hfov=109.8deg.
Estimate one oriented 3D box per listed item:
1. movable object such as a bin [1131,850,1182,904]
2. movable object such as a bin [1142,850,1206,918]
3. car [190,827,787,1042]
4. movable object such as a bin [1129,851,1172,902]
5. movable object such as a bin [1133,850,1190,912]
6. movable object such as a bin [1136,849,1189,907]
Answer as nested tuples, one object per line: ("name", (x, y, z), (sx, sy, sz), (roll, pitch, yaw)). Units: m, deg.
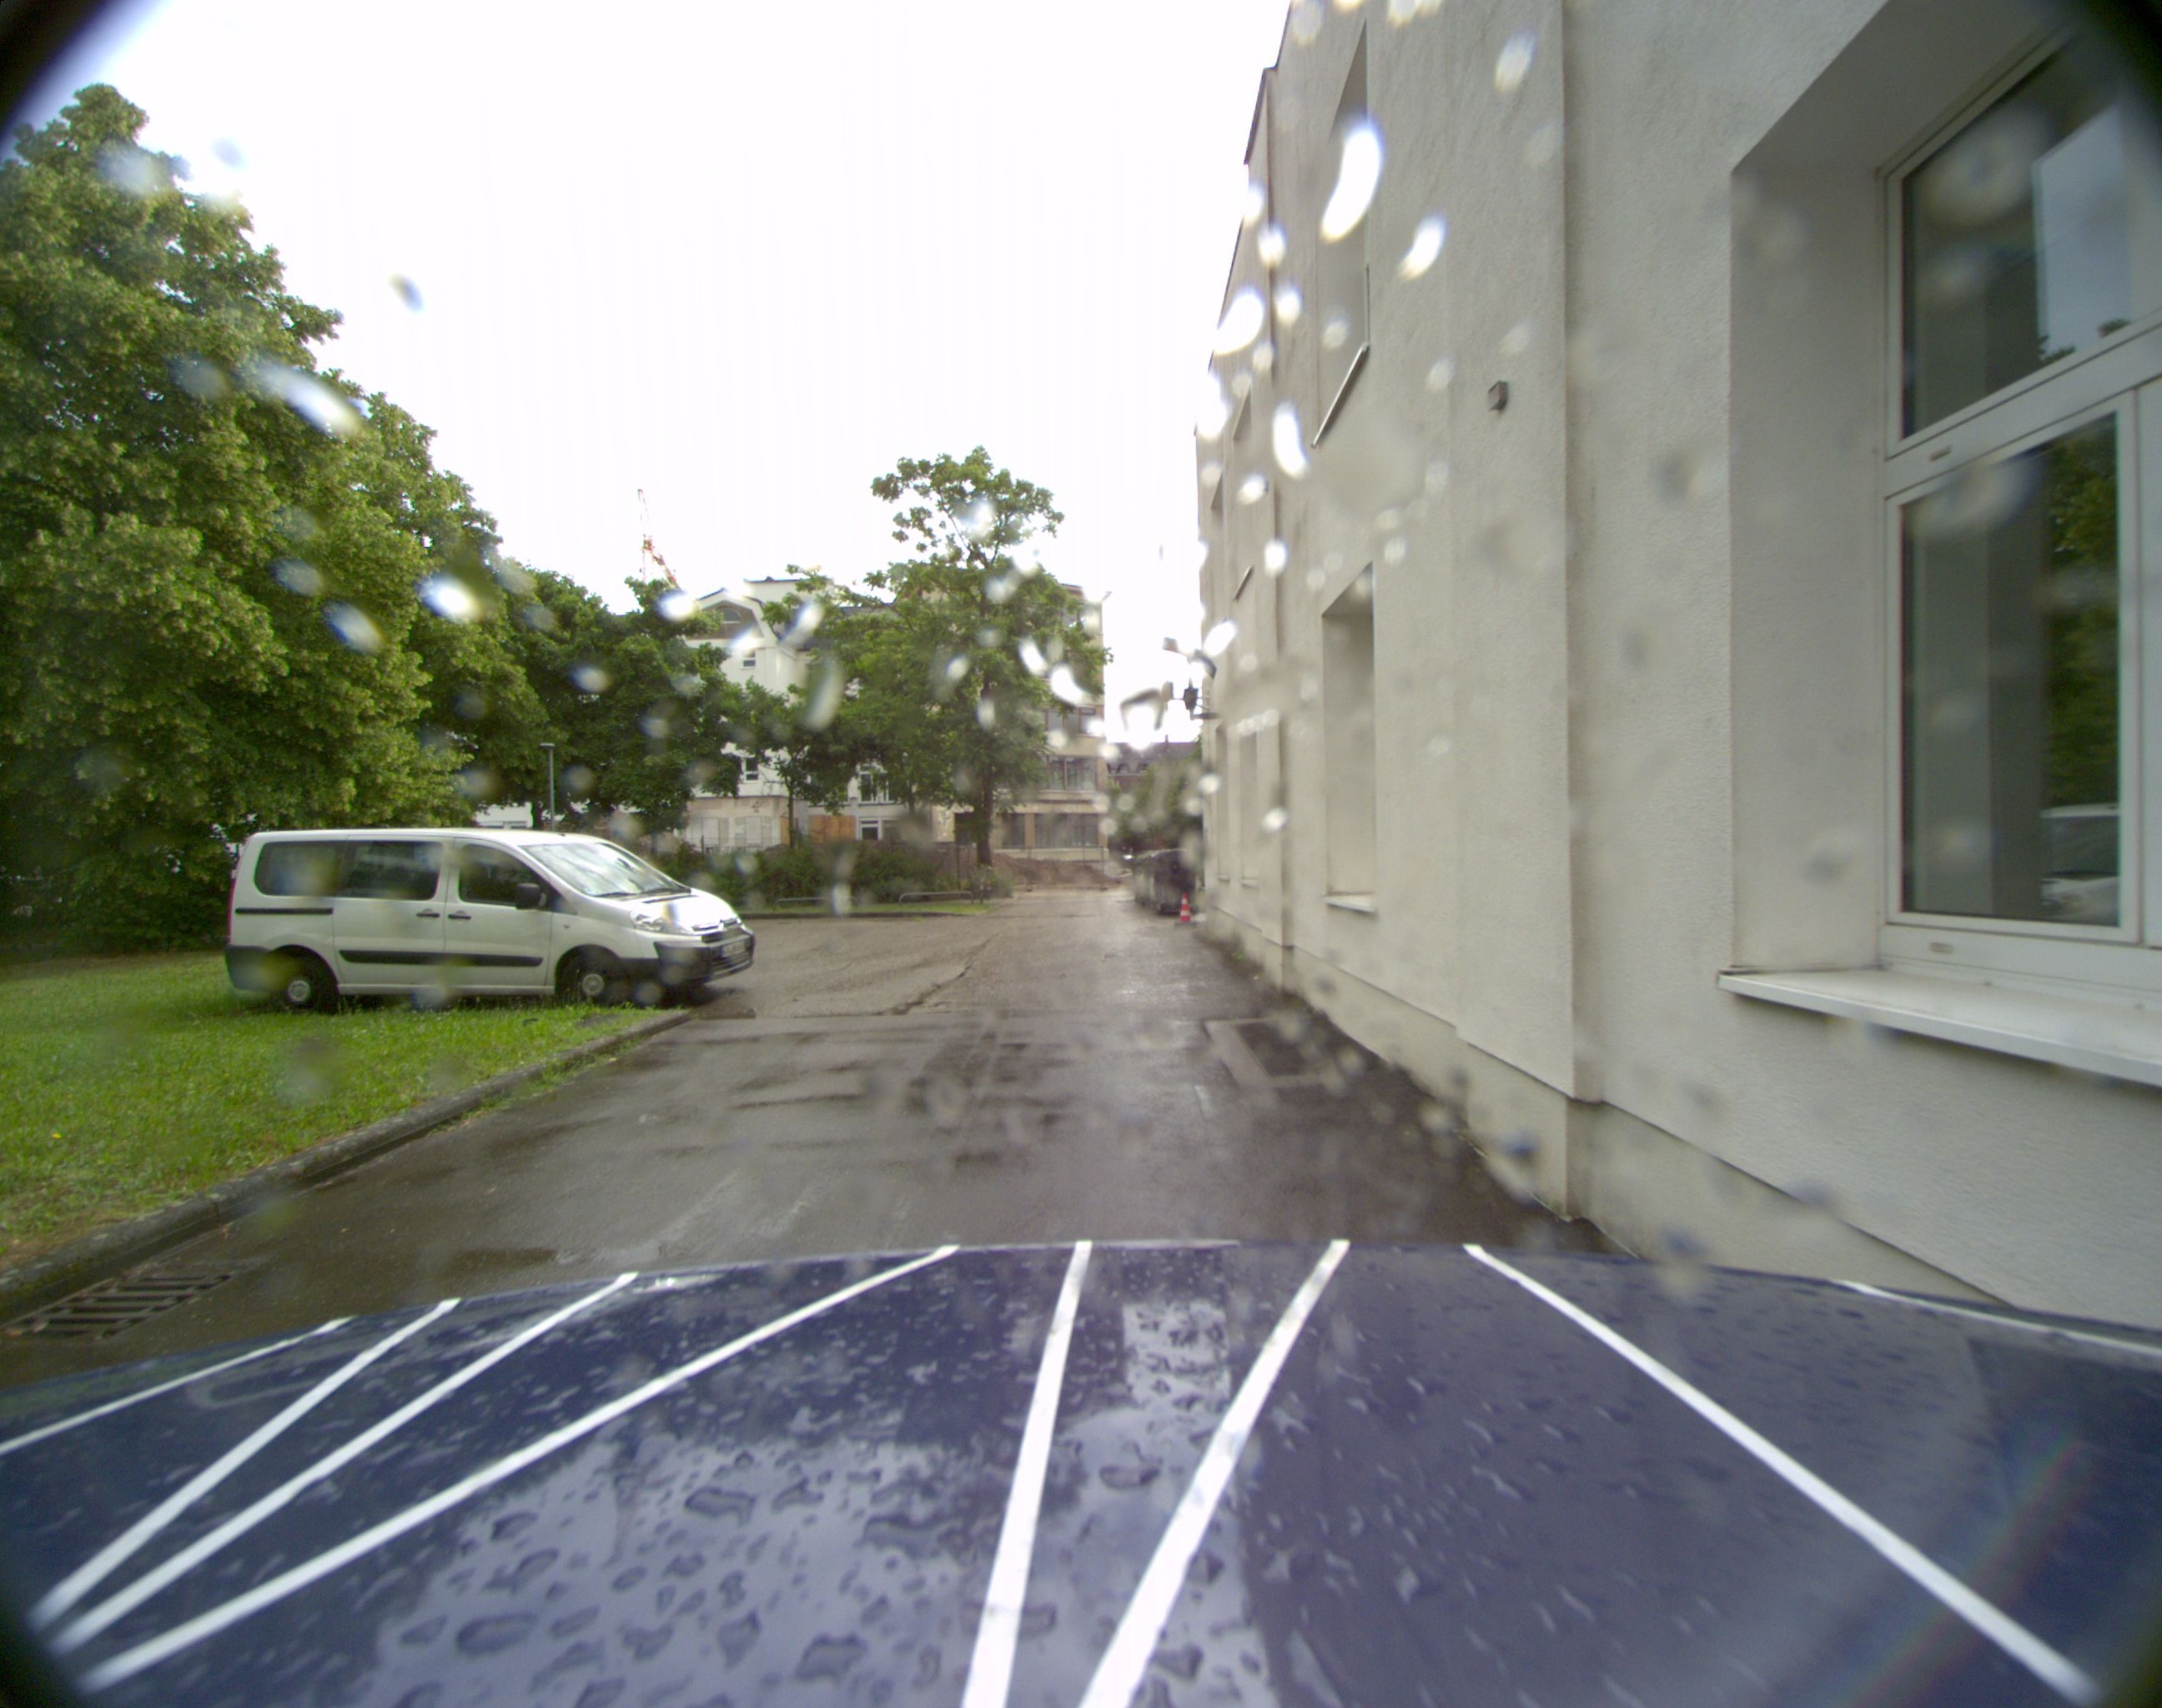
("movable object such as a bin", (2.136, 0.653, 21.816), (1.168, 1.474, 1.402), (-2, -1, -5))
("movable object such as a bin", (2.088, 0.656, 17.364), (1.168, 1.474, 1.594), (0, 1, -4))
("car", (-6.119, 0.769, 8.317), (4.884, 1.915, 2.099), (-2, 1, 3))
("movable object such as a bin", (2.147, 0.665, 23.360), (1.103, 1.464, 1.487), (-2, 1, 11))
("movable object such as a bin", (1.981, 0.646, 18.918), (1.168, 1.474, 1.496), (0, 1, -4))
("movable object such as a bin", (2.159, 0.622, 20.398), (1.167, 1.474, 1.402), (-2, 0, -3))
